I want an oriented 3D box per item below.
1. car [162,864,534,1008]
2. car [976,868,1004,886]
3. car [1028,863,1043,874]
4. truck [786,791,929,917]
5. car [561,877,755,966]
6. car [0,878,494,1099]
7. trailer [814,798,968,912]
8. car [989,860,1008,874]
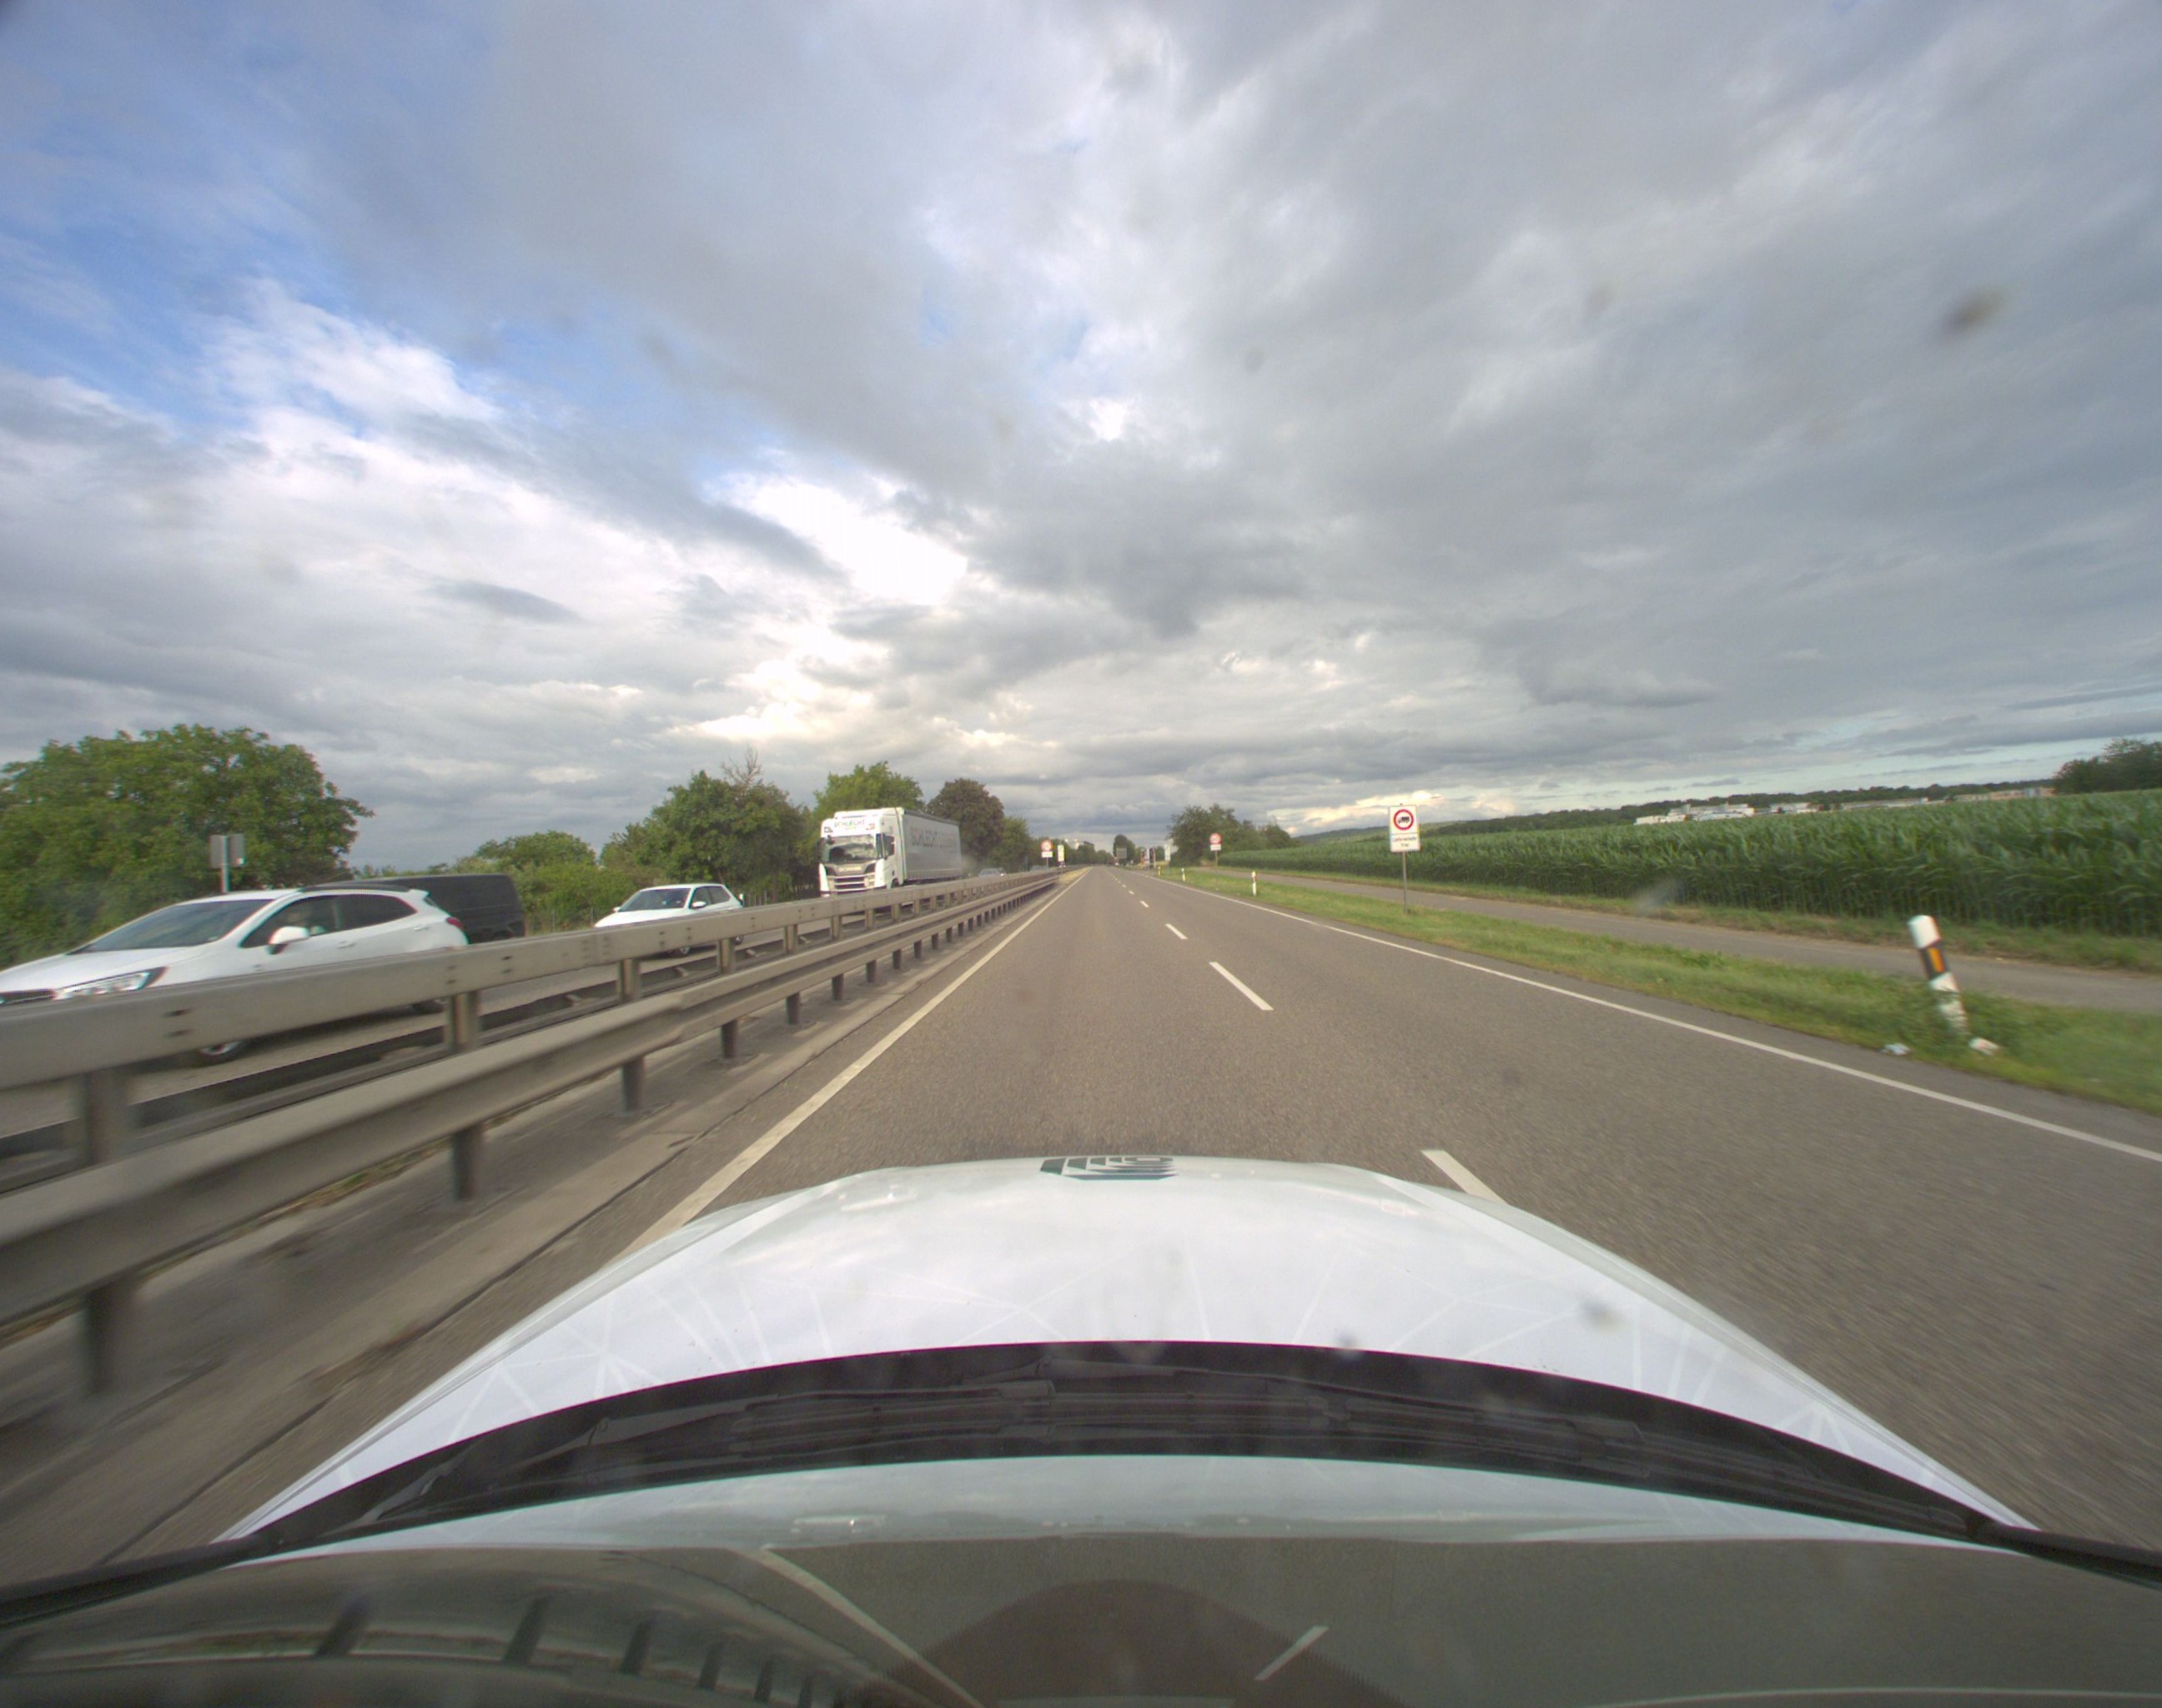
[{"bbox_3d":[-12.562,1.248,14.572,1.986,2.013,4.948,-4,-1,2],"label":"car"},{"bbox_3d":[-7.666,1.925,69.115,1.783,1.386,4.161,-3,0,1],"label":"car"},{"bbox_3d":[-6.864,2.220,123.827,1.860,1.477,4.826,-3,0,1],"label":"car"},{"bbox_3d":[-8.407,0.023,31.610,3.462,4.150,6.050,-4,0,1],"label":"truck"},{"bbox_3d":[-8.675,1.309,17.160,1.783,1.444,4.161,-3,0,1],"label":"car"},{"bbox_3d":[-8.903,1.175,8.716,1.901,1.610,4.405,-3,0,1],"label":"car"},{"bbox_3d":[-8.324,0.063,38.504,3.453,4.150,13.919,-4,0,1],"label":"trailer"},{"bbox_3d":[-10.114,1.576,100.085,1.783,1.573,4.161,-3,0,1],"label":"car"}]
